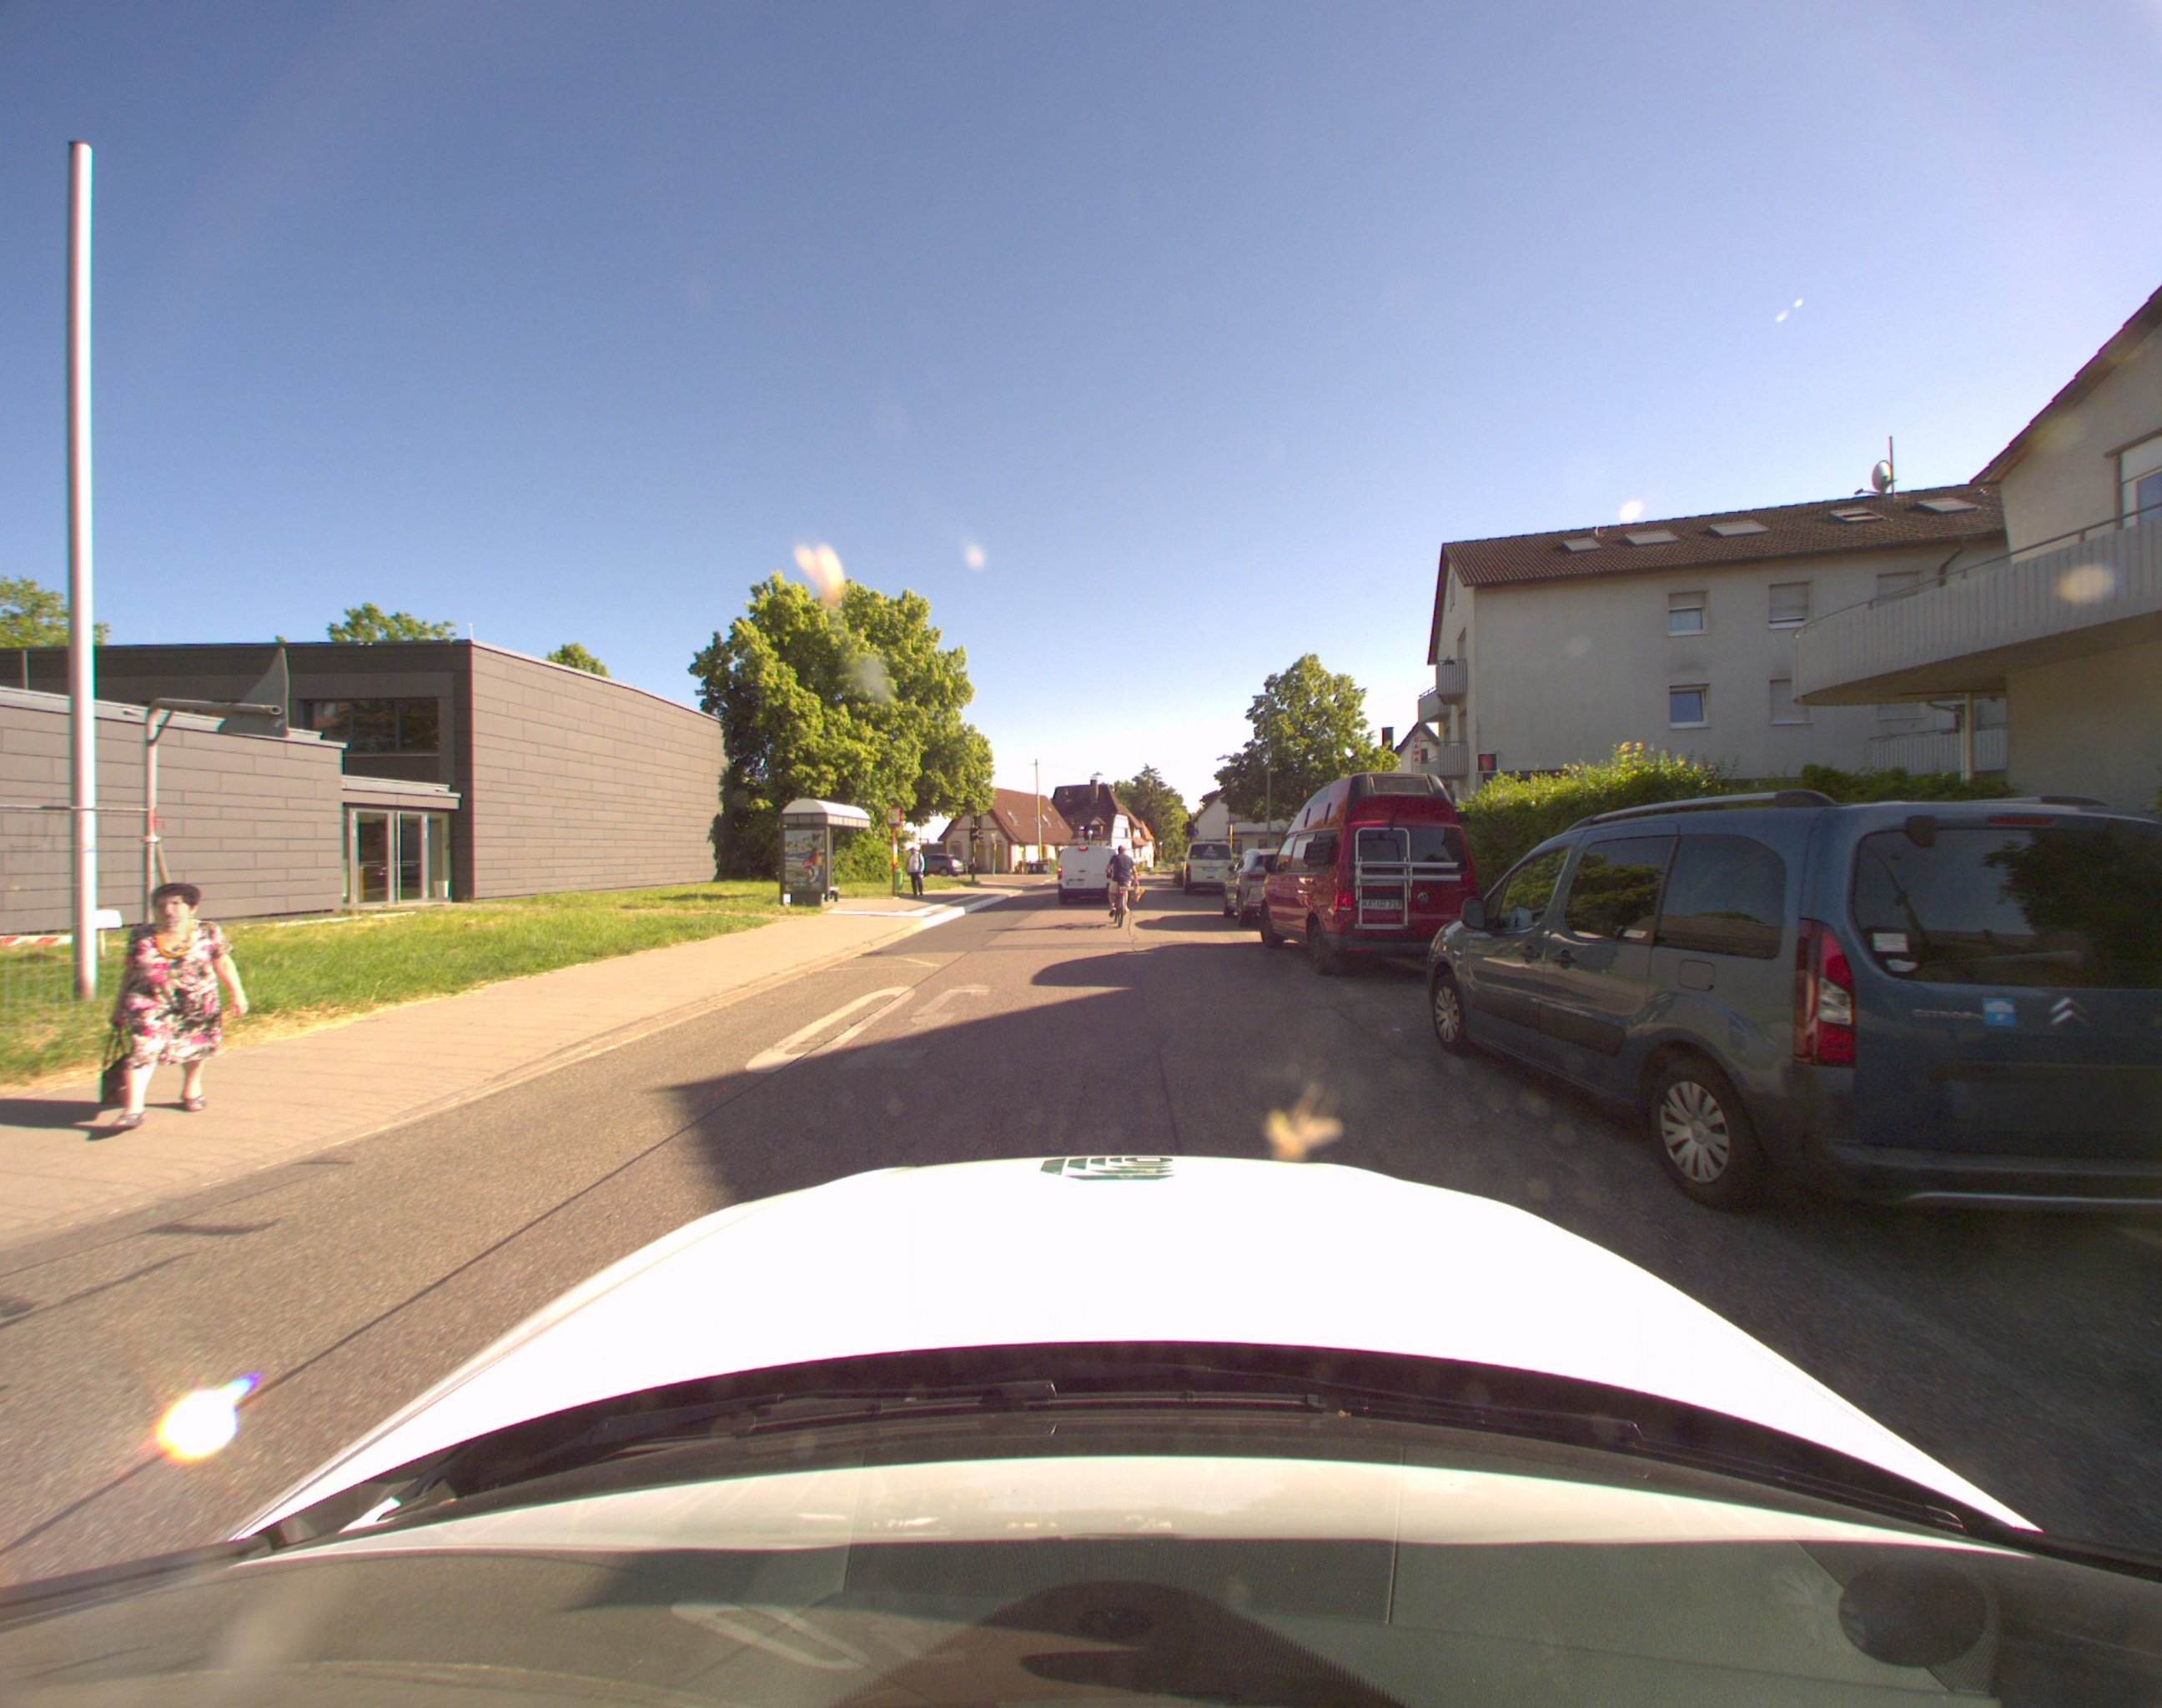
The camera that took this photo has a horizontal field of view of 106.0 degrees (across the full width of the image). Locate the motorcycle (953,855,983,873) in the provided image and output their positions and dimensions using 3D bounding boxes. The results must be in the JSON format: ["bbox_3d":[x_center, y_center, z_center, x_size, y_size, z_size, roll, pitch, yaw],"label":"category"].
[{"bbox_3d":[-8.999,0.789,64.865,2.222,1.295,0.888,-1,3,23],"label":"motorcycle"}]

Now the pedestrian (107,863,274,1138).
[{"bbox_3d":[-5.802,0.883,5.343,0.826,1.587,0.635,4,0,44],"label":"pedestrian"}]

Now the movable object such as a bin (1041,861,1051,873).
[{"bbox_3d":[-2.719,1.048,63.708,0.551,0.924,0.629,-1,0,22],"label":"movable object such as a bin"}]

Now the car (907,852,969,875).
[{"bbox_3d":[-10.771,0.718,61.499,4.183,1.725,1.956,0,-1,23],"label":"car"}]

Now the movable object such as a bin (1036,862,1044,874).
[{"bbox_3d":[-3.191,1.060,63.897,0.407,0.924,0.629,-1,0,22],"label":"movable object such as a bin"}]

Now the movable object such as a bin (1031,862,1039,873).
[{"bbox_3d":[-3.599,1.063,64.069,0.408,0.906,0.629,-1,1,22],"label":"movable object such as a bin"}]

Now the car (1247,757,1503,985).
[{"bbox_3d":[3.957,0.181,12.090,1.950,2.644,5.223,0,0,0],"label":"car"}]

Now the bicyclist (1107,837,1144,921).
[{"bbox_3d":[0.954,0.526,17.693,0.762,1.789,0.853,0,0,0],"label":"bicyclist"}]

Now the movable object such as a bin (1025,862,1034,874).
[{"bbox_3d":[-4.047,1.070,64.272,0.503,0.924,0.629,-1,0,22],"label":"movable object such as a bin"}]

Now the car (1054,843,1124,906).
[{"bbox_3d":[0.357,0.597,26.960,1.948,1.848,4.567,-1,1,5],"label":"car"}]

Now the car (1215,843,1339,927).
[{"bbox_3d":[4.407,0.626,19.040,1.949,1.738,4.579,0,0,2],"label":"car"}]

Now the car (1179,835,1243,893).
[{"bbox_3d":[4.957,0.364,31.649,1.985,2.079,4.581,0,0,3],"label":"car"}]

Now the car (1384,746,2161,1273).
[{"bbox_3d":[3.634,0.541,5.186,1.849,1.848,4.563,1,0,2],"label":"car"}]

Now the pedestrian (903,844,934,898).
[{"bbox_3d":[-5.622,0.576,28.207,0.709,1.802,0.775,2,1,28],"label":"pedestrian"}]

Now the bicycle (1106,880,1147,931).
[{"bbox_3d":[0.962,1.078,17.728,0.772,0.940,2.291,-1,0,1],"label":"bicycle"}]
